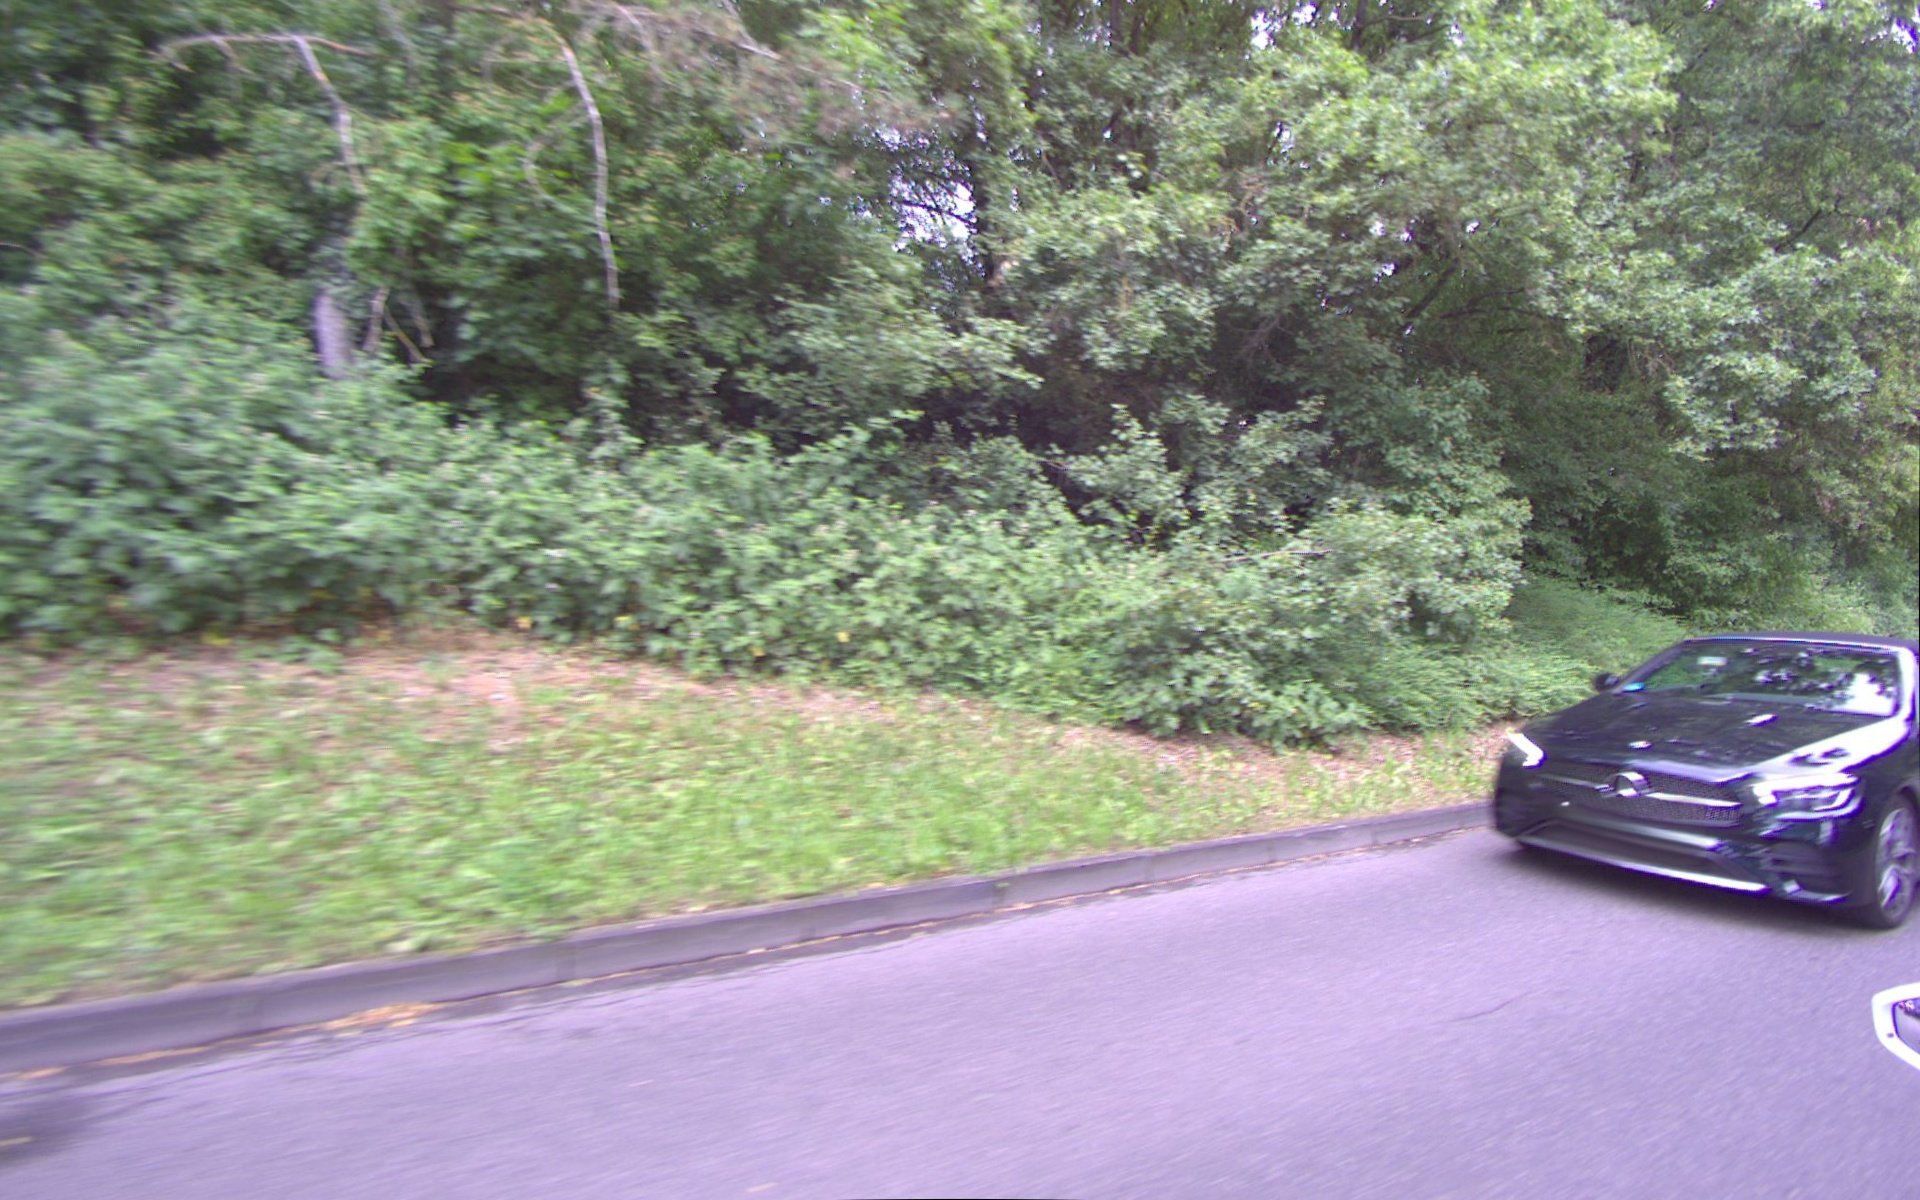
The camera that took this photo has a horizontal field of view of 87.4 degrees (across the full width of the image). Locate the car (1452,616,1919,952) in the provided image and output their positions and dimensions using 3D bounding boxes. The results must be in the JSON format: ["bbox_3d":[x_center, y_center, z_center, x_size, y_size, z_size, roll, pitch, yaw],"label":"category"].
[{"bbox_3d":[5.280,0.918,6.444,4.445,1.407,1.780,3,1,-34],"label":"car"}]

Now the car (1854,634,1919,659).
[{"bbox_3d":[65.100,3.232,70.669,1.961,1.520,3.999,3,1,21],"label":"car"}]
